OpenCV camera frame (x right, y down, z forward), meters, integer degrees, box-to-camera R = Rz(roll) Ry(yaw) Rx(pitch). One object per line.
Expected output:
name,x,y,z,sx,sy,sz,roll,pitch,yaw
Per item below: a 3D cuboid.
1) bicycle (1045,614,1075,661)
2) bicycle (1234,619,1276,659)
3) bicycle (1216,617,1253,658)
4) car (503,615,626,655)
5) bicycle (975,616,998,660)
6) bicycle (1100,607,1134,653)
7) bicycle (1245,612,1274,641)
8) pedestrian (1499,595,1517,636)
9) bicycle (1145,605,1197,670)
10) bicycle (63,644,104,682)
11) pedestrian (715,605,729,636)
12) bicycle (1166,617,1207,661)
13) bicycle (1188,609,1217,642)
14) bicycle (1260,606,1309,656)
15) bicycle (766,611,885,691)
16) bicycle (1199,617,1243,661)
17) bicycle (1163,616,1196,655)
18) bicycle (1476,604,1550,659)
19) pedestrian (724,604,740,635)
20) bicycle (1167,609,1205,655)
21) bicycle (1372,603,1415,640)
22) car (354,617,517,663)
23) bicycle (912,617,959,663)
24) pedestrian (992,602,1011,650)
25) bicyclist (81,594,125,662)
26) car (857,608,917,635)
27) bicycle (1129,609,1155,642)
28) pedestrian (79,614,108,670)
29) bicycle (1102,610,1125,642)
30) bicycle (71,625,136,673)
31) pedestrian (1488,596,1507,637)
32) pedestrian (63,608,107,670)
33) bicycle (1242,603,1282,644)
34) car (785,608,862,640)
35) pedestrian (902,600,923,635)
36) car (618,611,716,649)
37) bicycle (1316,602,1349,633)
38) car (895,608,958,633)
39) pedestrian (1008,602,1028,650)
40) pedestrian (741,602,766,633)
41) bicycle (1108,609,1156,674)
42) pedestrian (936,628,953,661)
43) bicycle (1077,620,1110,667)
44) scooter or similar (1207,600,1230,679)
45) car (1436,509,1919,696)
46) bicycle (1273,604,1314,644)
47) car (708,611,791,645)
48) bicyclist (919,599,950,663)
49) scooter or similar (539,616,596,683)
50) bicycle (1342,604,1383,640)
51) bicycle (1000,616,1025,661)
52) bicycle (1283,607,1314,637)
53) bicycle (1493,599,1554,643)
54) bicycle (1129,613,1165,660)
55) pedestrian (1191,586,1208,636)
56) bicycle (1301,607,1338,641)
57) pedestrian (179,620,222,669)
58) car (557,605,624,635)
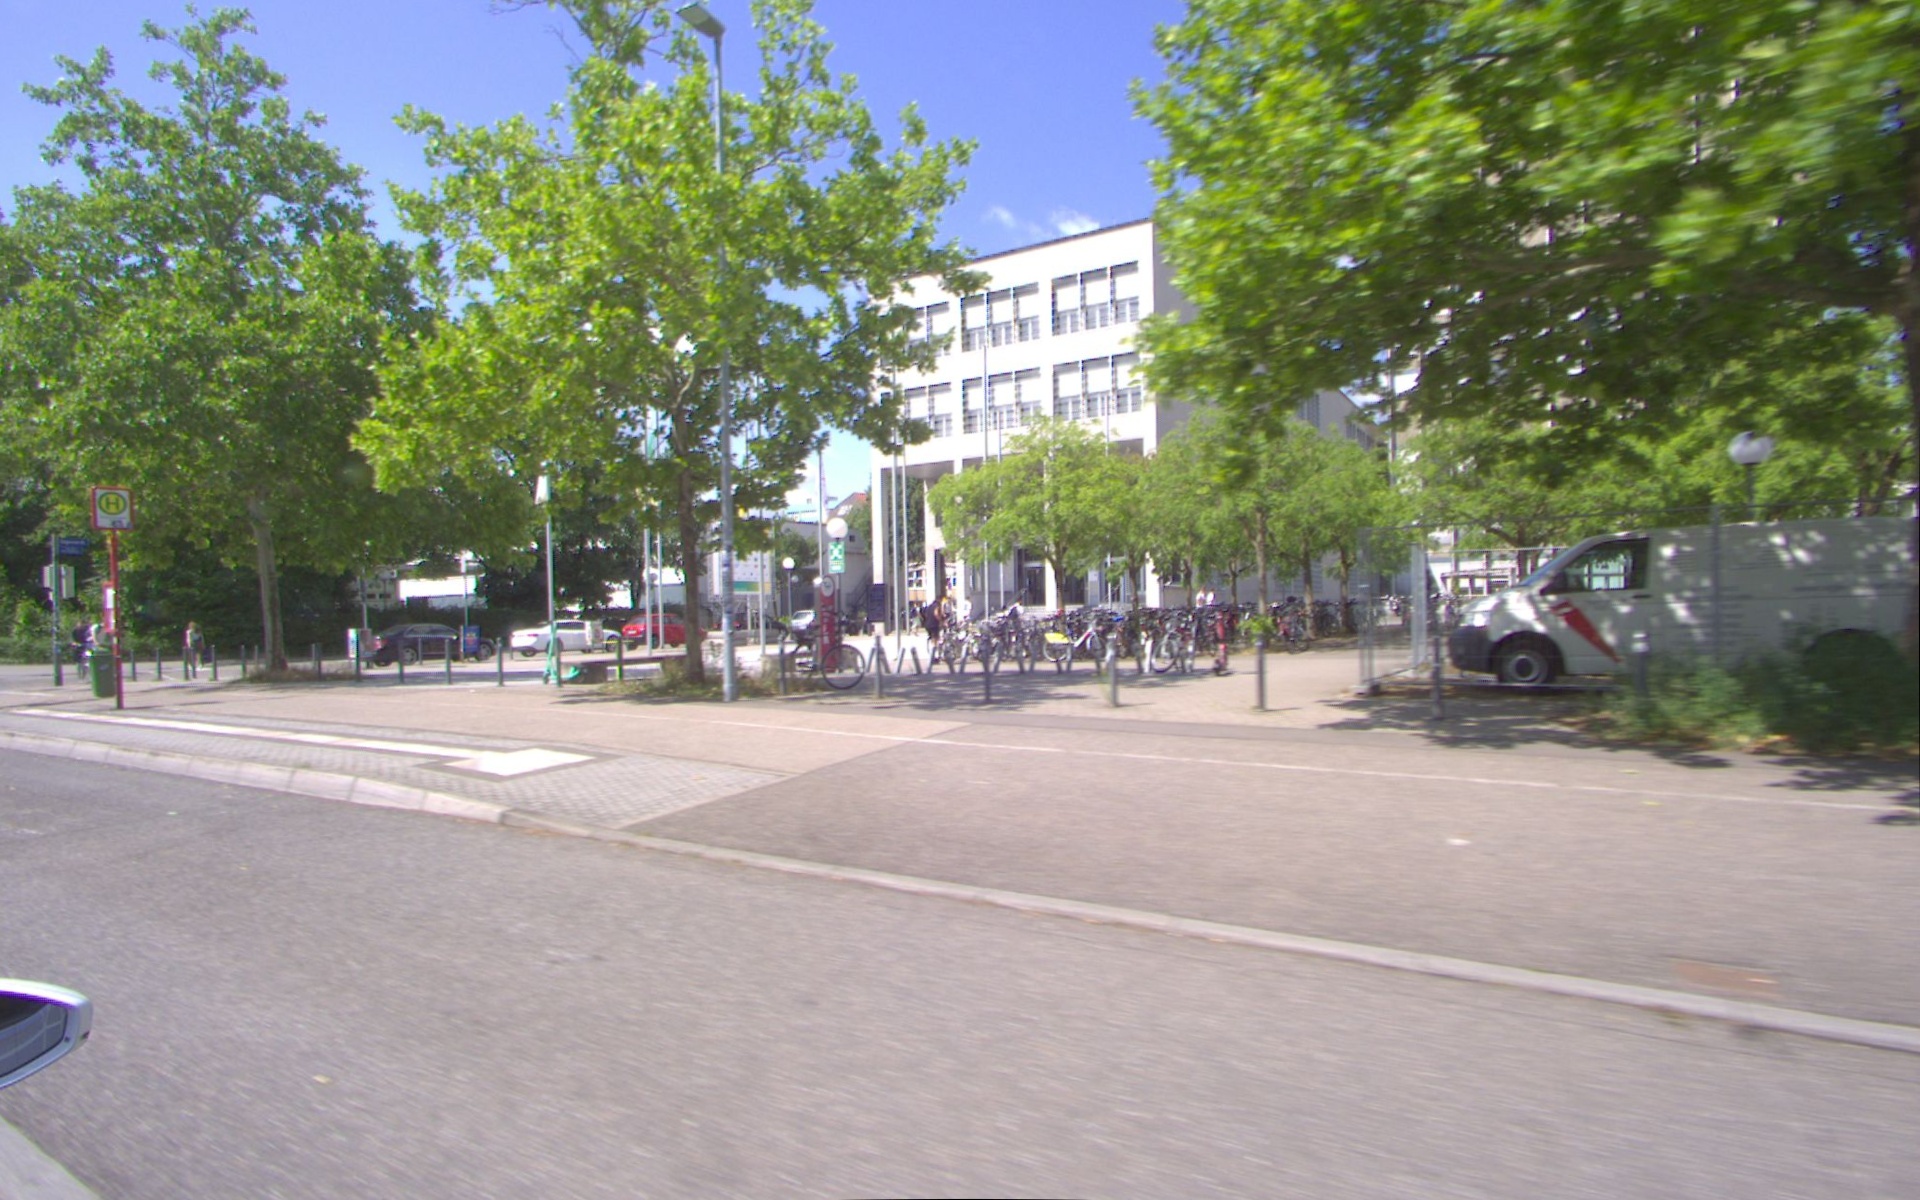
bicycle,2.459,0.940,24.777,0.592,1.112,1.769,0,-2,1
bicycle,6.871,0.891,23.392,0.475,0.880,1.768,0,0,1
bicycle,7.778,1.067,28.448,0.592,1.112,1.769,0,-2,1
car,-15.738,1.365,40.085,1.700,1.417,4.416,-4,-2,31
bicycle,0.692,1.007,26.434,0.592,1.112,1.769,0,-2,1
bicycle,3.907,0.737,24.973,0.592,1.113,1.768,-1,-1,1
bicycle,11.706,1.059,39.181,0.592,1.112,1.769,0,-2,1
pedestrian,30.547,0.853,55.822,0.627,2.257,0.711,1,-2,-40
bicycle,3.773,0.687,18.048,0.592,1.112,1.769,0,-2,1
bicycle,-26.662,1.899,30.443,0.810,1.086,1.872,0,-1,-45
pedestrian,-15.376,1.321,64.714,0.586,1.951,0.780,-1,0,-36
bicycle,5.289,0.895,23.430,0.592,0.967,1.768,0,0,1
bicycle,8.443,0.908,34.857,0.592,1.112,1.769,0,-2,1
bicycle,7.487,0.720,23.194,0.592,1.112,1.769,0,-2,1
bicycle,-2.172,0.811,16.004,2.010,1.198,0.793,-2,-2,43
bicycle,6.079,0.890,23.411,0.592,0.967,1.768,0,0,1
bicycle,6.418,1.043,29.367,0.592,1.112,1.769,0,-2,1
bicycle,11.554,0.674,20.994,0.592,1.112,1.769,0,-2,1
pedestrian,-14.824,1.278,65.129,0.725,1.951,0.779,-1,0,-36
bicycle,5.710,0.791,25.371,0.592,1.113,1.768,0,0,1
bicycle,13.569,0.696,31.413,0.592,1.112,1.769,0,-2,1
car,-18.472,1.369,35.496,1.700,1.418,4.923,-4,-2,31
bicycle,-0.606,1.031,25.688,0.886,1.092,2.155,-2,-2,6
pedestrian,1.551,0.980,37.559,0.622,1.768,0.716,-1,-2,11
bicyclist,-24.023,0.799,28.069,0.749,1.868,0.661,-1,-2,25
car,-4.300,1.267,59.651,1.595,1.516,3.988,-1,-1,30
bicycle,6.388,0.917,35.200,0.592,1.112,1.769,0,-2,1
pedestrian,-28.915,1.391,33.398,0.695,1.845,0.667,0,0,43
bicycle,5.471,0.937,35.766,0.592,1.112,1.769,0,-2,1
bicycle,-23.962,1.373,28.011,1.843,1.313,0.661,-1,-2,24
pedestrian,29.252,0.909,54.500,0.627,2.257,0.711,1,-2,-40
pedestrian,-26.698,1.186,30.549,1.163,1.843,0.849,0,-2,43
bicycle,8.558,0.682,28.436,0.592,1.112,1.769,0,-2,1
car,-7.277,1.276,53.777,1.699,1.549,4.547,-3,-1,28
pedestrian,-2.261,0.843,47.847,0.711,1.605,0.712,-1,-2,37
car,-12.966,1.314,44.486,1.597,1.515,4.124,-4,-2,32
bicycle,13.965,0.666,37.602,0.592,1.112,1.769,0,-2,1
car,-2.105,1.261,63.414,1.845,1.483,4.497,-1,-1,31
pedestrian,2.174,0.972,37.455,0.622,1.768,0.716,-1,-2,11
pedestrian,-12.981,1.079,62.976,1.083,1.945,1.015,-1,0,32
bicycle,3.092,0.748,18.161,0.592,1.112,1.769,0,-2,1
pedestrian,-0.804,2.334,52.500,0.625,1.687,0.712,-1,-2,34
bicycle,3.263,1.040,24.549,0.592,1.113,1.768,0,-1,1
scooter or similar,4.288,0.642,16.581,0.276,1.249,1.297,-2,-1,17
car,8.407,0.090,11.888,4.867,1.888,1.896,-2,-1,29
bicycle,9.465,0.697,28.466,0.592,1.112,1.769,0,-2,1
car,-10.213,1.329,48.898,1.700,1.549,3.979,-2,-1,32
bicyclist,-0.648,0.788,25.518,0.650,1.584,0.933,-1,0,5
scooter or similar,-7.159,0.898,18.253,1.176,1.180,0.352,-2,-2,33
bicycle,12.725,0.712,31.673,0.592,1.112,1.769,0,-2,1
bicycle,1.342,0.988,25.749,0.592,1.112,1.769,0,-2,1
bicycle,12.735,0.849,37.732,0.592,1.112,1.769,0,-2,1
bicycle,14.737,0.578,26.234,0.592,1.112,1.769,0,-2,1
bicycle,4.635,0.876,24.881,0.592,1.113,1.767,0,0,1
pedestrian,10.967,0.502,45.900,0.622,2.257,0.717,0,-1,1
bicycle,11.991,0.811,33.455,0.592,1.112,1.769,0,-2,1
pedestrian,-26.991,1.573,35.600,1.004,1.648,0.853,1,2,28
car,-25.966,1.423,70.279,4.869,2.012,1.989,-1,-1,34
